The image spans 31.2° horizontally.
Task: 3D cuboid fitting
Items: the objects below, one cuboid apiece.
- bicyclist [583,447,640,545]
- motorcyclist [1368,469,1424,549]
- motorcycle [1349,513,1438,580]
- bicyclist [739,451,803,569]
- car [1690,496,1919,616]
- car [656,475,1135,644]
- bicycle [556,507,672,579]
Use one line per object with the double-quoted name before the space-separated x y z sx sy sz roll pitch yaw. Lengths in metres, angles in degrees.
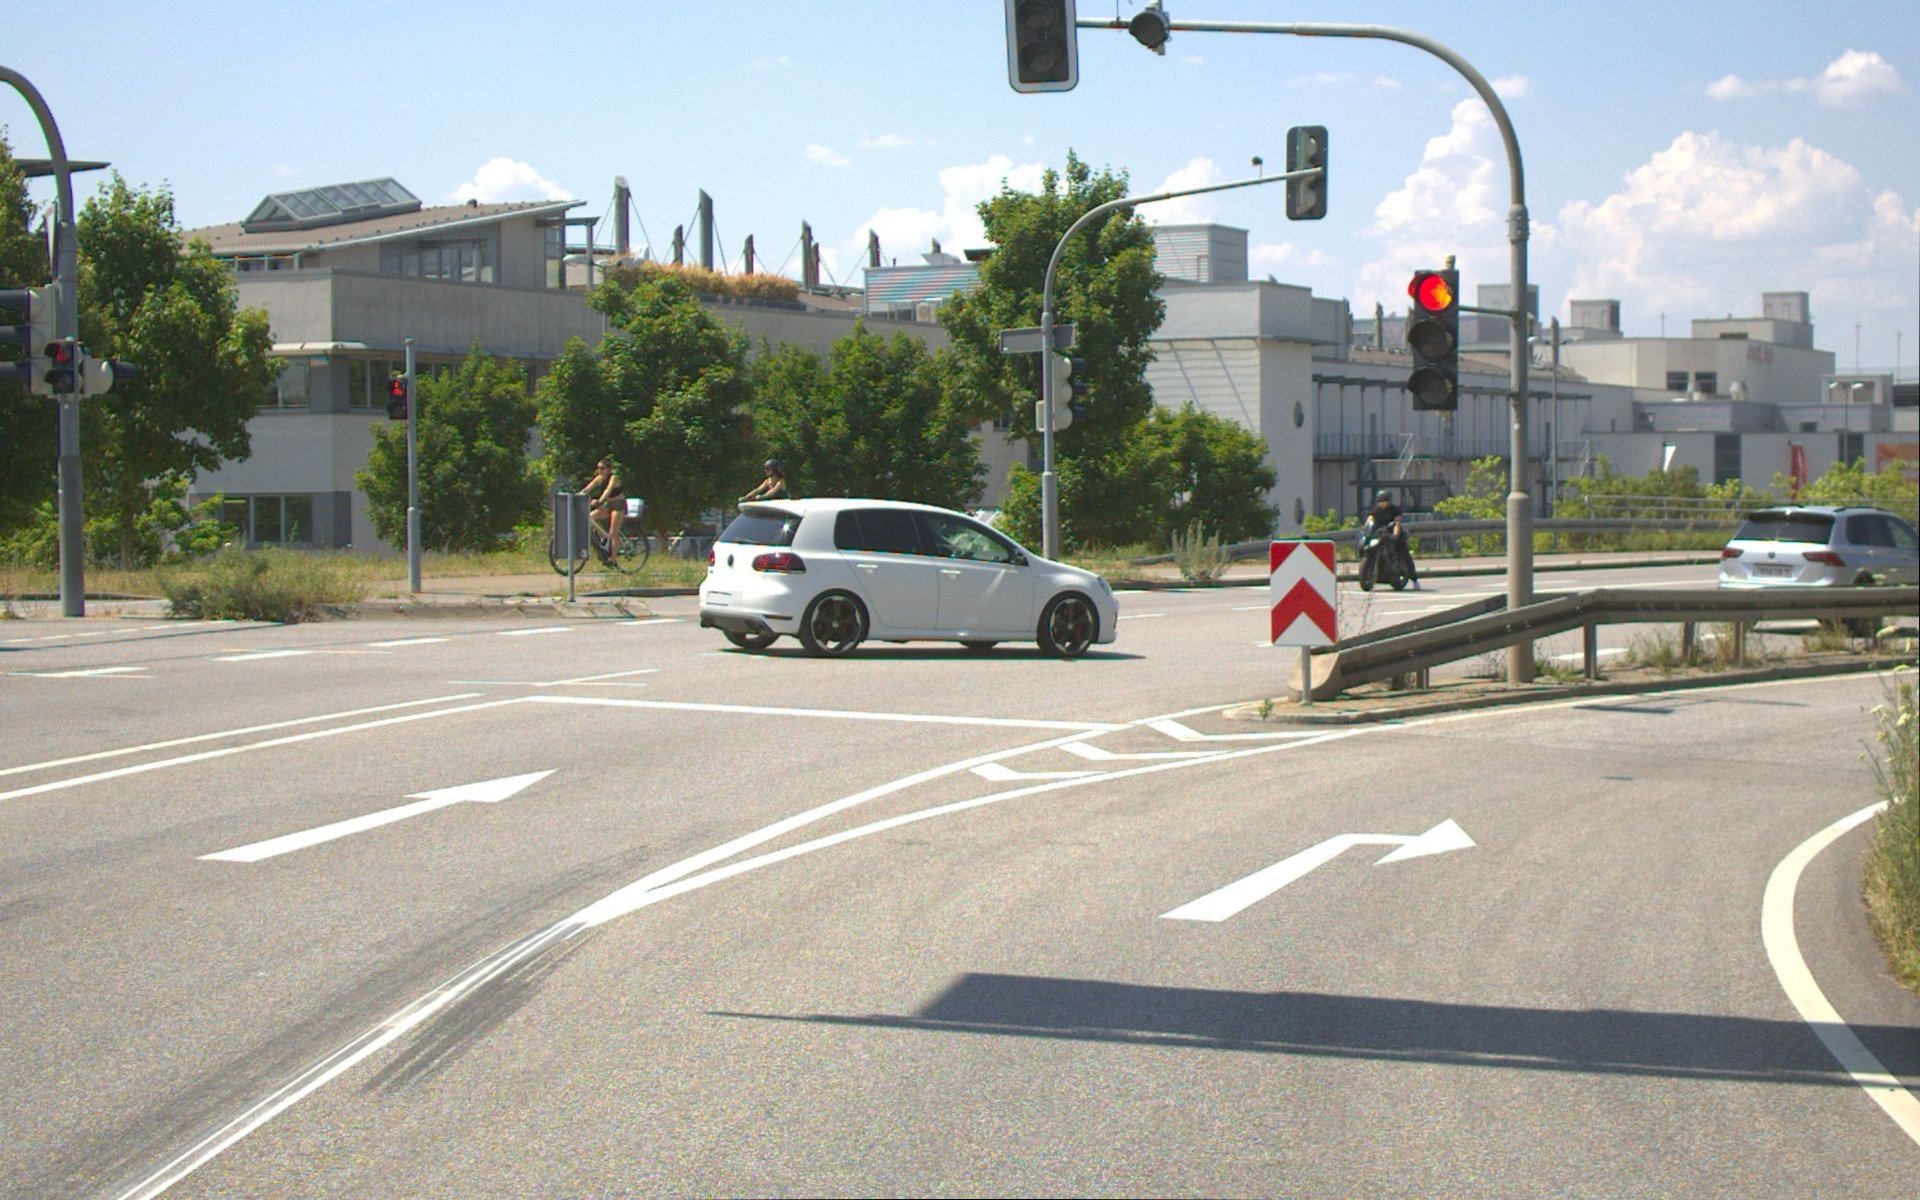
"bicyclist" -5.131 -1.531 50.635 0.408 1.399 0.683 4 2 43
"motorcyclist" 7.157 -1.494 56.423 0.676 1.298 0.722 0 1 31
"motorcycle" 7.113 -0.877 56.385 0.563 1.076 2.280 1 1 31
"bicyclist" -2.827 -1.348 51.439 0.728 1.711 0.532 1 3 -29
"car" 11.507 -0.584 45.091 1.998 1.500 4.386 0 1 39
"car" -0.600 -0.383 32.978 4.122 1.481 2.000 1 2 -33
"bicycle" -5.095 -0.841 50.711 0.415 1.021 1.827 5 3 43
